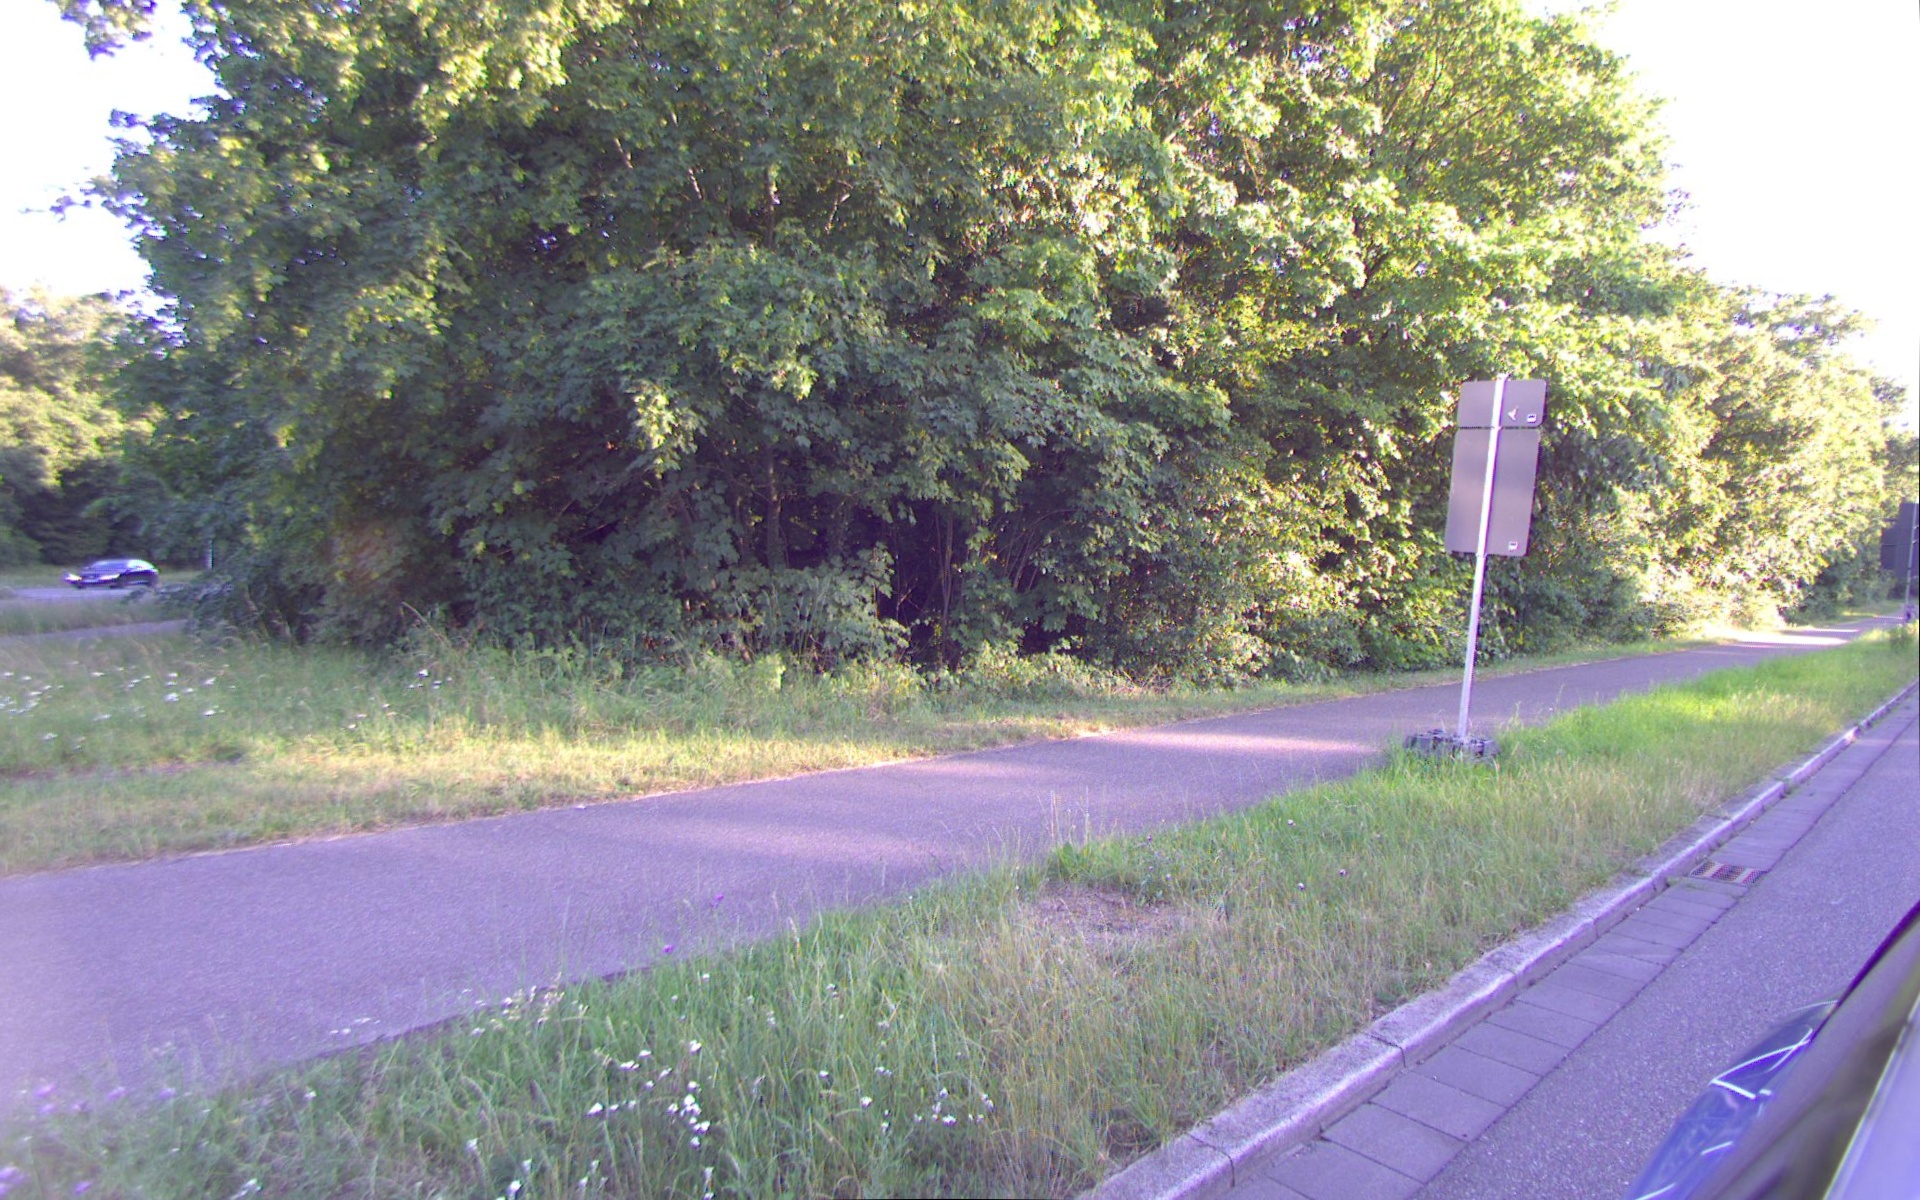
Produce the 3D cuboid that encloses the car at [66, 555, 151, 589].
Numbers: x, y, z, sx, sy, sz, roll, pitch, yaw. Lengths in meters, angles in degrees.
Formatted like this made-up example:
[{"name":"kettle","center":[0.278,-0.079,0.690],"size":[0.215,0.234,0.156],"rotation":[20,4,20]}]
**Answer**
[{"name":"car","center":[-40.297,-1.312,47.990],"size":[1.733,1.507,3.884],"rotation":[0,1,-18]}]
